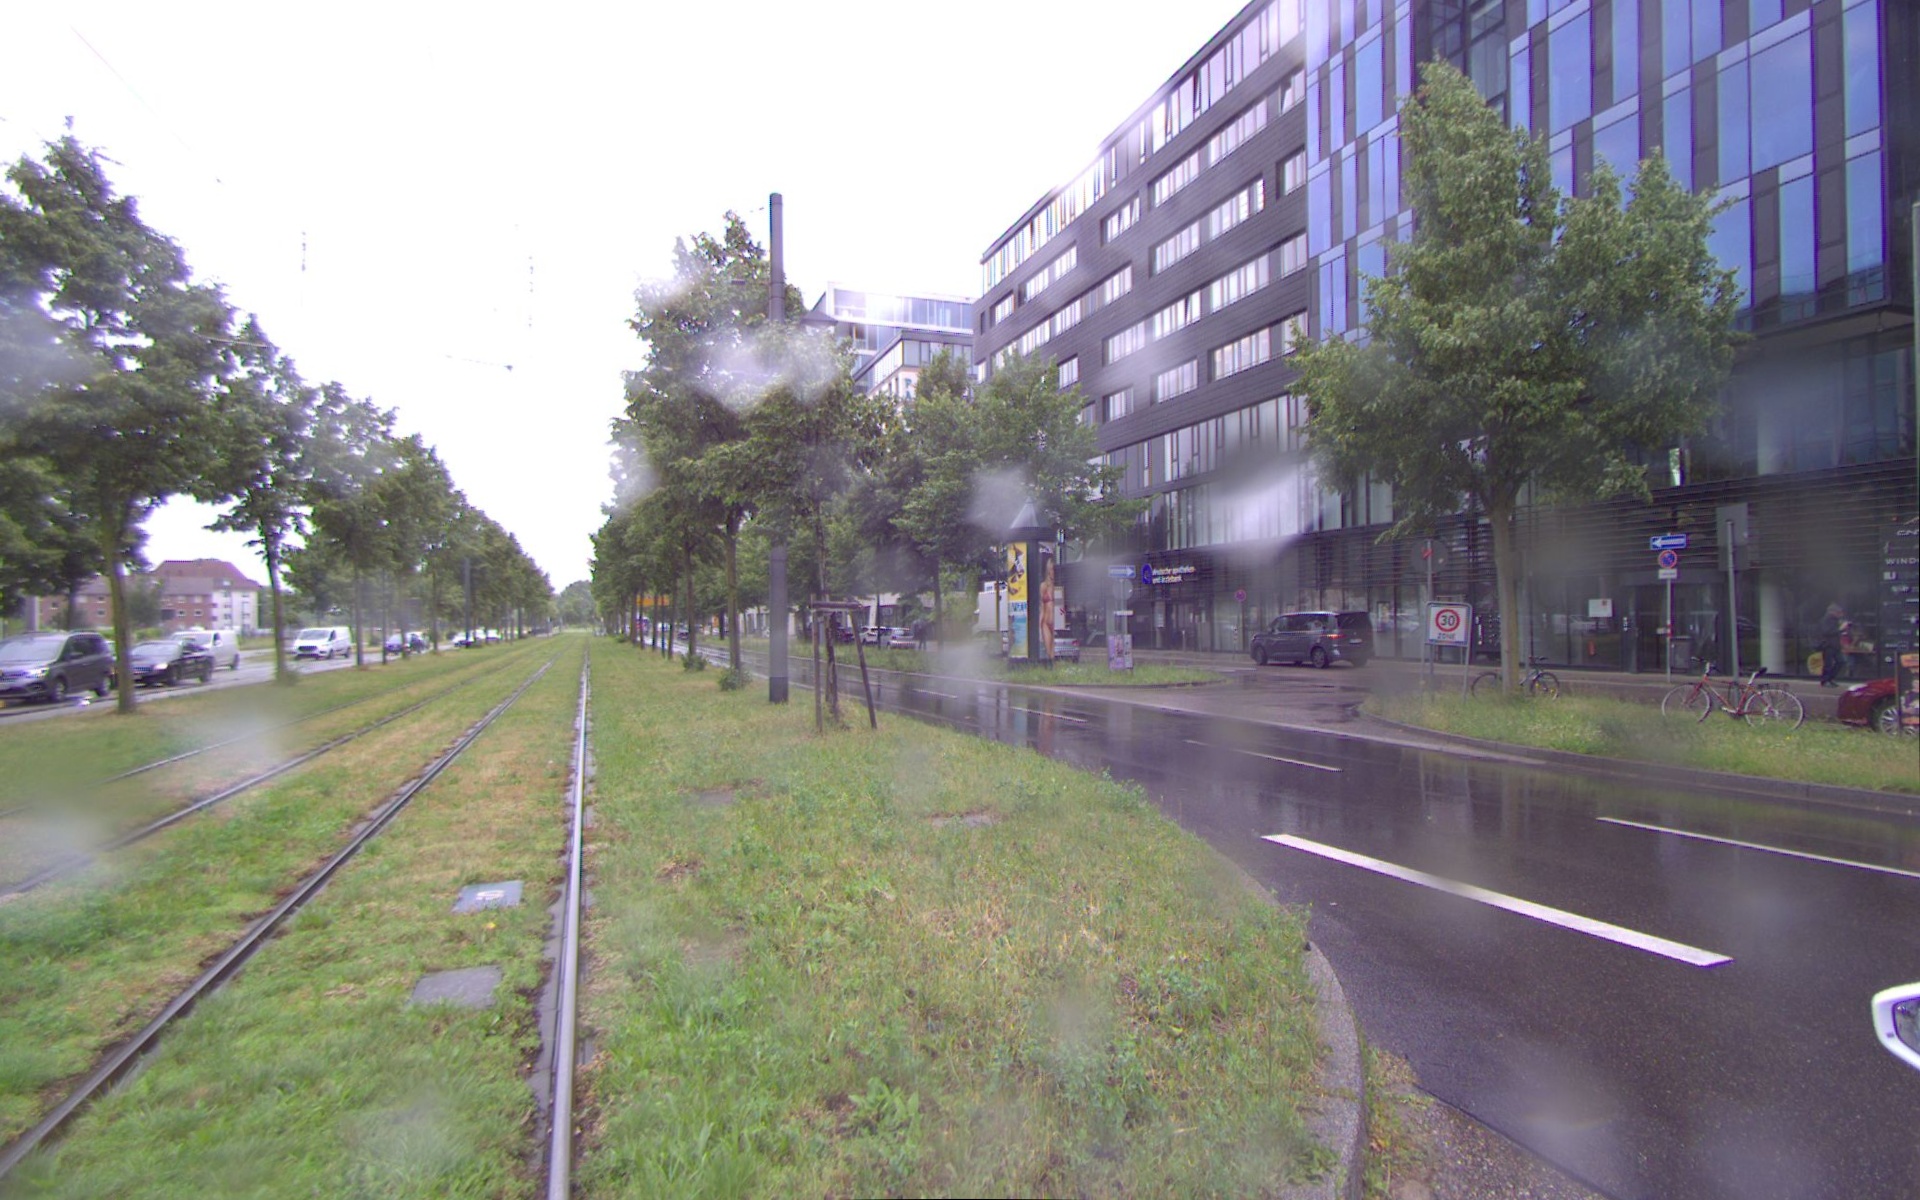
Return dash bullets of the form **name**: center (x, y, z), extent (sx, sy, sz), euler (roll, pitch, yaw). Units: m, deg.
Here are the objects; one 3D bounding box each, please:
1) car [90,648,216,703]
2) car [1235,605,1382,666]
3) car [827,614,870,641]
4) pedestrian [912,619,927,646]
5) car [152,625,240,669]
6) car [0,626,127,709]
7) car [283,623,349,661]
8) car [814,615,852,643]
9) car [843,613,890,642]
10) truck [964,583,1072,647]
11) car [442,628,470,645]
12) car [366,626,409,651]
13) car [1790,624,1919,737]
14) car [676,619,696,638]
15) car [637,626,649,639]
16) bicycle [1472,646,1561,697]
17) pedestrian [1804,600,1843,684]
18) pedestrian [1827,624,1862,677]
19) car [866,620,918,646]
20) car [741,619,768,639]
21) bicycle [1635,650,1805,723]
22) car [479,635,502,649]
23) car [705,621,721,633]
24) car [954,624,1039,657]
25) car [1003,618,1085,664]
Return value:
- **car**: center (-26.773, 2.454, 33.519), extent (1.928, 1.404, 4.581), euler (0, 1, -21)
- **car**: center (12.094, 1.200, 35.241), extent (1.971, 1.945, 5.122), euler (0, -1, -23)
- **car**: center (-8.070, 1.948, 72.067), extent (1.970, 1.691, 4.935), euler (0, 1, -20)
- **pedestrian**: center (-2.316, 1.856, 57.582), extent (0.690, 1.513, 0.640), euler (0, -1, -23)
- **car**: center (-34.832, 2.110, 45.955), extent (1.929, 1.674, 5.002), euler (0, 1, -22)
- **car**: center (-24.002, 1.694, 26.339), extent (1.928, 1.873, 4.521), euler (0, 0, -21)
- **car**: center (-40.117, 2.585, 62.758), extent (2.240, 2.034, 5.349), euler (0, 1, -19)
- **car**: center (-10.025, 2.226, 79.036), extent (1.970, 1.979, 5.005), euler (0, 1, -20)
- **car**: center (-6.216, 1.766, 66.273), extent (1.970, 1.691, 4.701), euler (0, 1, -20)
- **truck**: center (3.247, 0.932, 59.362), extent (2.991, 3.486, 8.501), euler (0, -1, -23)
- **car**: center (-47.623, 3.390, 94.968), extent (1.928, 1.533, 4.555), euler (0, -1, -20)
- **car**: center (-39.942, 2.640, 70.138), extent (1.927, 1.515, 3.943), euler (0, 1, -20)
- **car**: center (13.927, 1.065, 12.747), extent (1.970, 1.474, 4.937), euler (0, -1, -20)
- **car**: center (-31.438, 3.238, 115.281), extent (1.917, 2.041, 3.981), euler (0, 1, -20)
- **car**: center (-54.064, 5.579, 171.320), extent (1.968, 2.041, 3.984), euler (0, 1, -18)
- **bicycle**: center (10.869, 1.394, 19.644), extent (1.432, 0.929, 0.433), euler (1, 1, 12)
- **pedestrian**: center (19.558, 0.945, 22.757), extent (0.567, 1.857, 0.506), euler (1, 2, 33)
- **pedestrian**: center (21.416, 1.214, 24.330), extent (0.441, 1.254, 0.581), euler (1, 1, 21)
- **car**: center (-4.163, 1.962, 60.952), extent (1.750, 1.471, 4.698), euler (1, -1, -23)
- **car**: center (-20.772, 2.903, 101.292), extent (1.970, 1.691, 4.701), euler (0, 1, -20)
- **bicycle**: center (11.072, 1.238, 14.692), extent (0.569, 0.873, 1.895), euler (-1, 1, -36)
- **car**: center (-57.323, 5.124, 122.712), extent (1.925, 1.480, 4.813), euler (0, 1, -17)
- **car**: center (-35.529, 3.896, 144.417), extent (1.859, 1.526, 4.701), euler (0, 1, -20)
- **car**: center (1.618, 1.836, 46.810), extent (1.972, 1.463, 5.208), euler (0, -1, -23)
- **car**: center (3.340, 1.608, 40.703), extent (1.740, 1.618, 4.081), euler (0, 1, -20)
